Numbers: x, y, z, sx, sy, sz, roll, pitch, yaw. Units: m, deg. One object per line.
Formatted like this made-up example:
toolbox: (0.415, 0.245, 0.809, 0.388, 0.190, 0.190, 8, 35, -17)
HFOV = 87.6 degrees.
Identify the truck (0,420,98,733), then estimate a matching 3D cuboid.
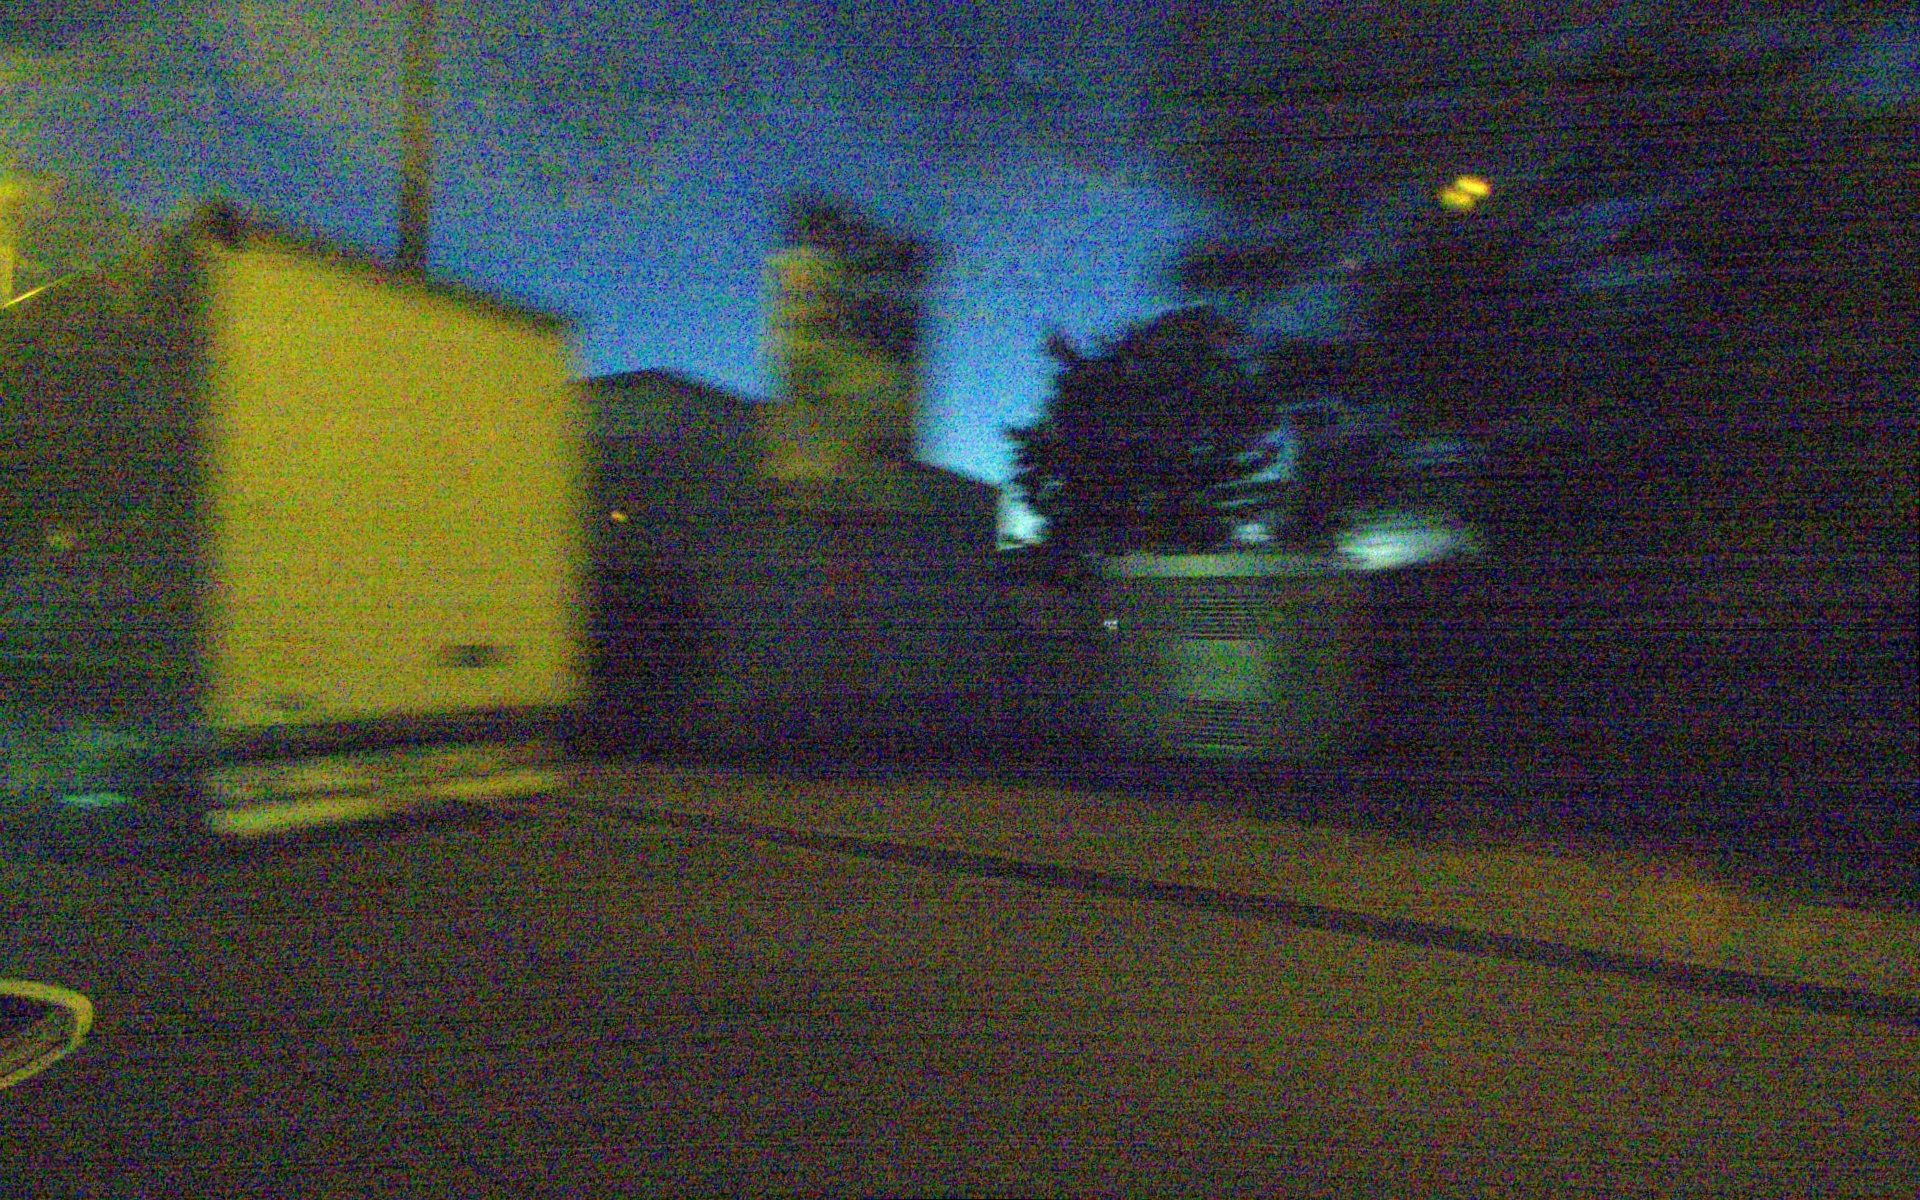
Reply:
truck: (-15.205, -0.276, 14.042, 5.958, 4.034, 2.828, -1, -1, 29)

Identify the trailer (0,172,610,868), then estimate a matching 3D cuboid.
trailer: (-9.476, -0.327, 10.581, 13.770, 4.034, 2.805, -1, -2, 31)
